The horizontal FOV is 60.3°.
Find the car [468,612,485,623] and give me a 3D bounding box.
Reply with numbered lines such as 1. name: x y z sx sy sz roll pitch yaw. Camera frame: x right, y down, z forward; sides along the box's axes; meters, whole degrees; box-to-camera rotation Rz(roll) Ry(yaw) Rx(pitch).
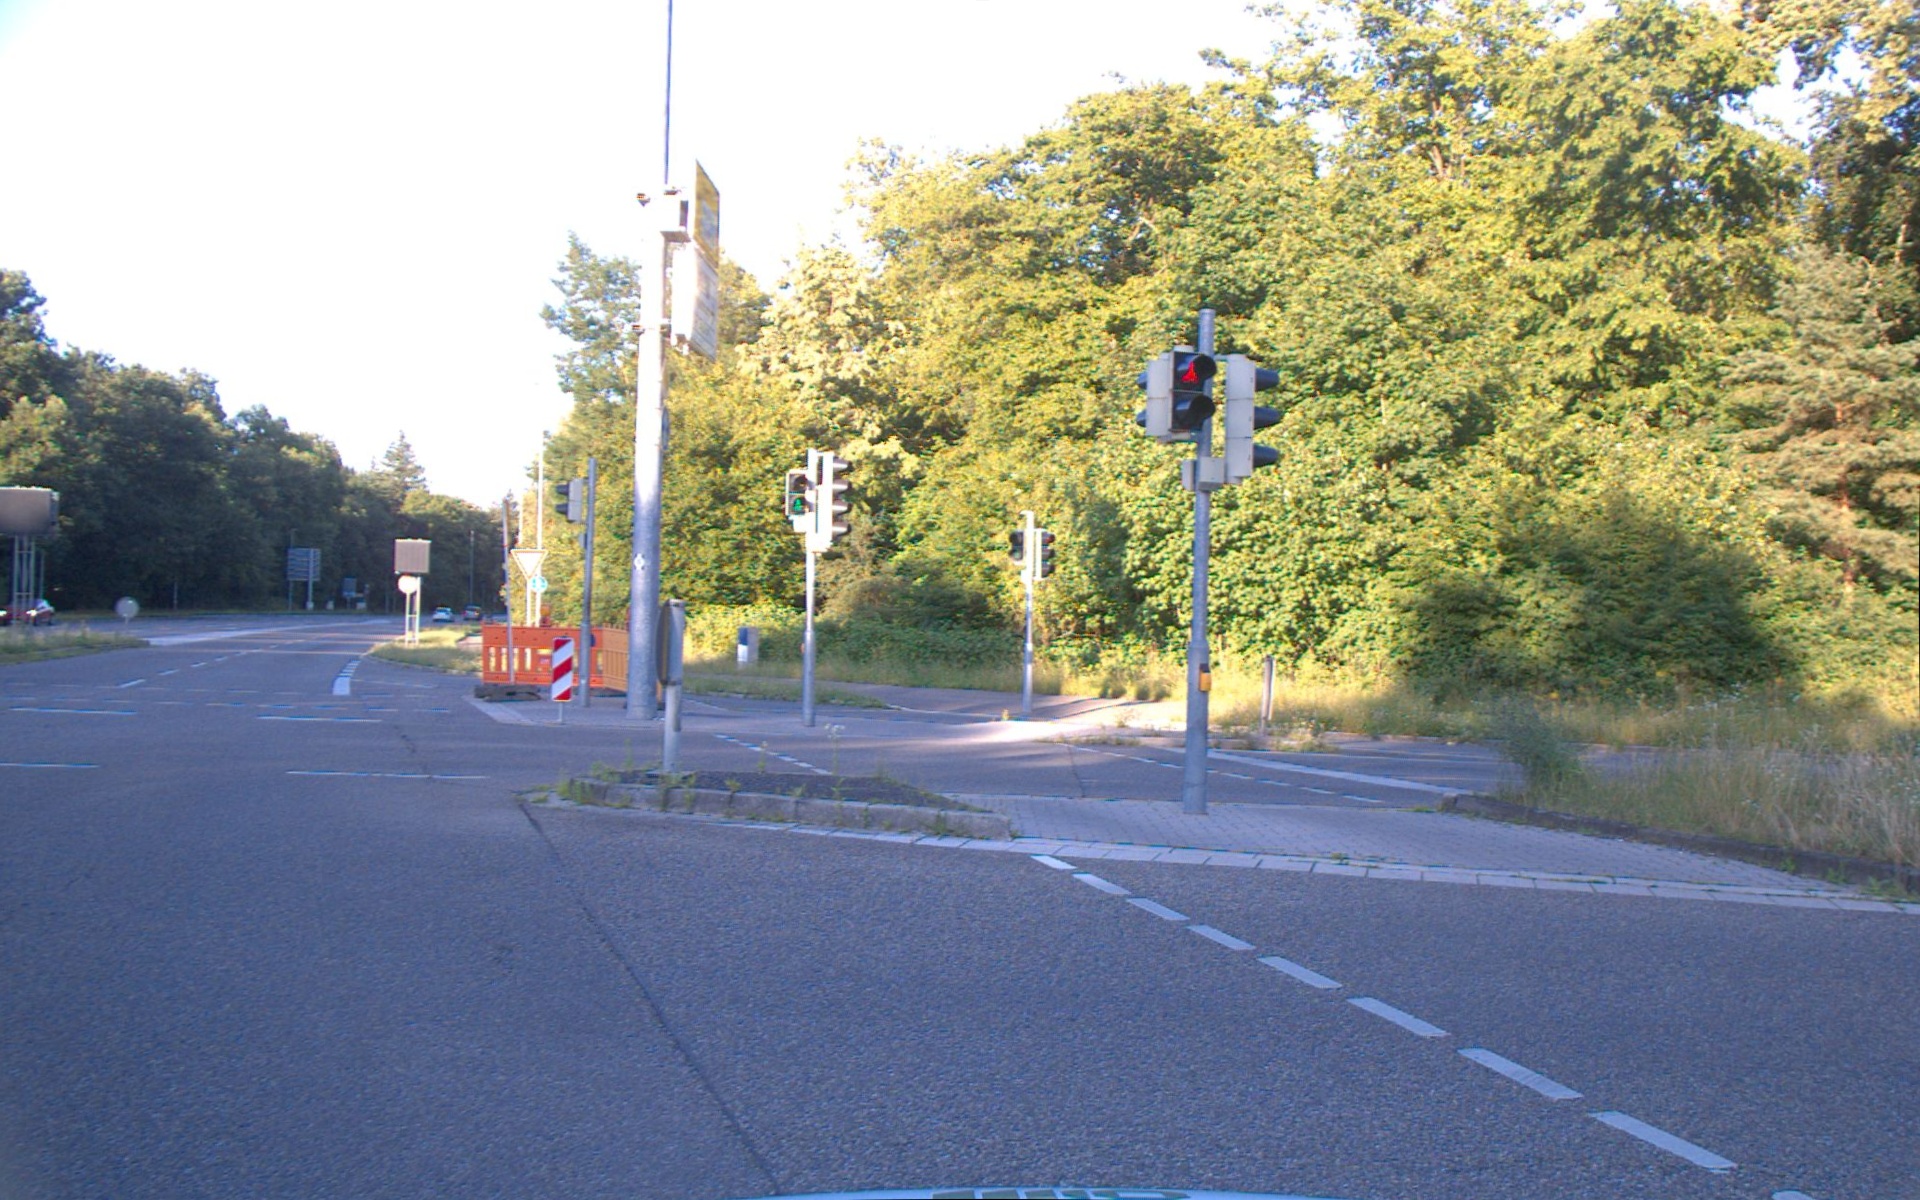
1. car: -56.365 2.031 192.737 1.428 1.266 2.958 2 -1 -8

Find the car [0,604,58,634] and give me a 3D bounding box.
1. car: -47.992 0.960 85.222 1.848 1.446 4.212 2 0 -18

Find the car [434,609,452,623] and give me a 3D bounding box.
1. car: -53.140 1.686 170.001 1.521 1.371 3.102 2 0 -15
